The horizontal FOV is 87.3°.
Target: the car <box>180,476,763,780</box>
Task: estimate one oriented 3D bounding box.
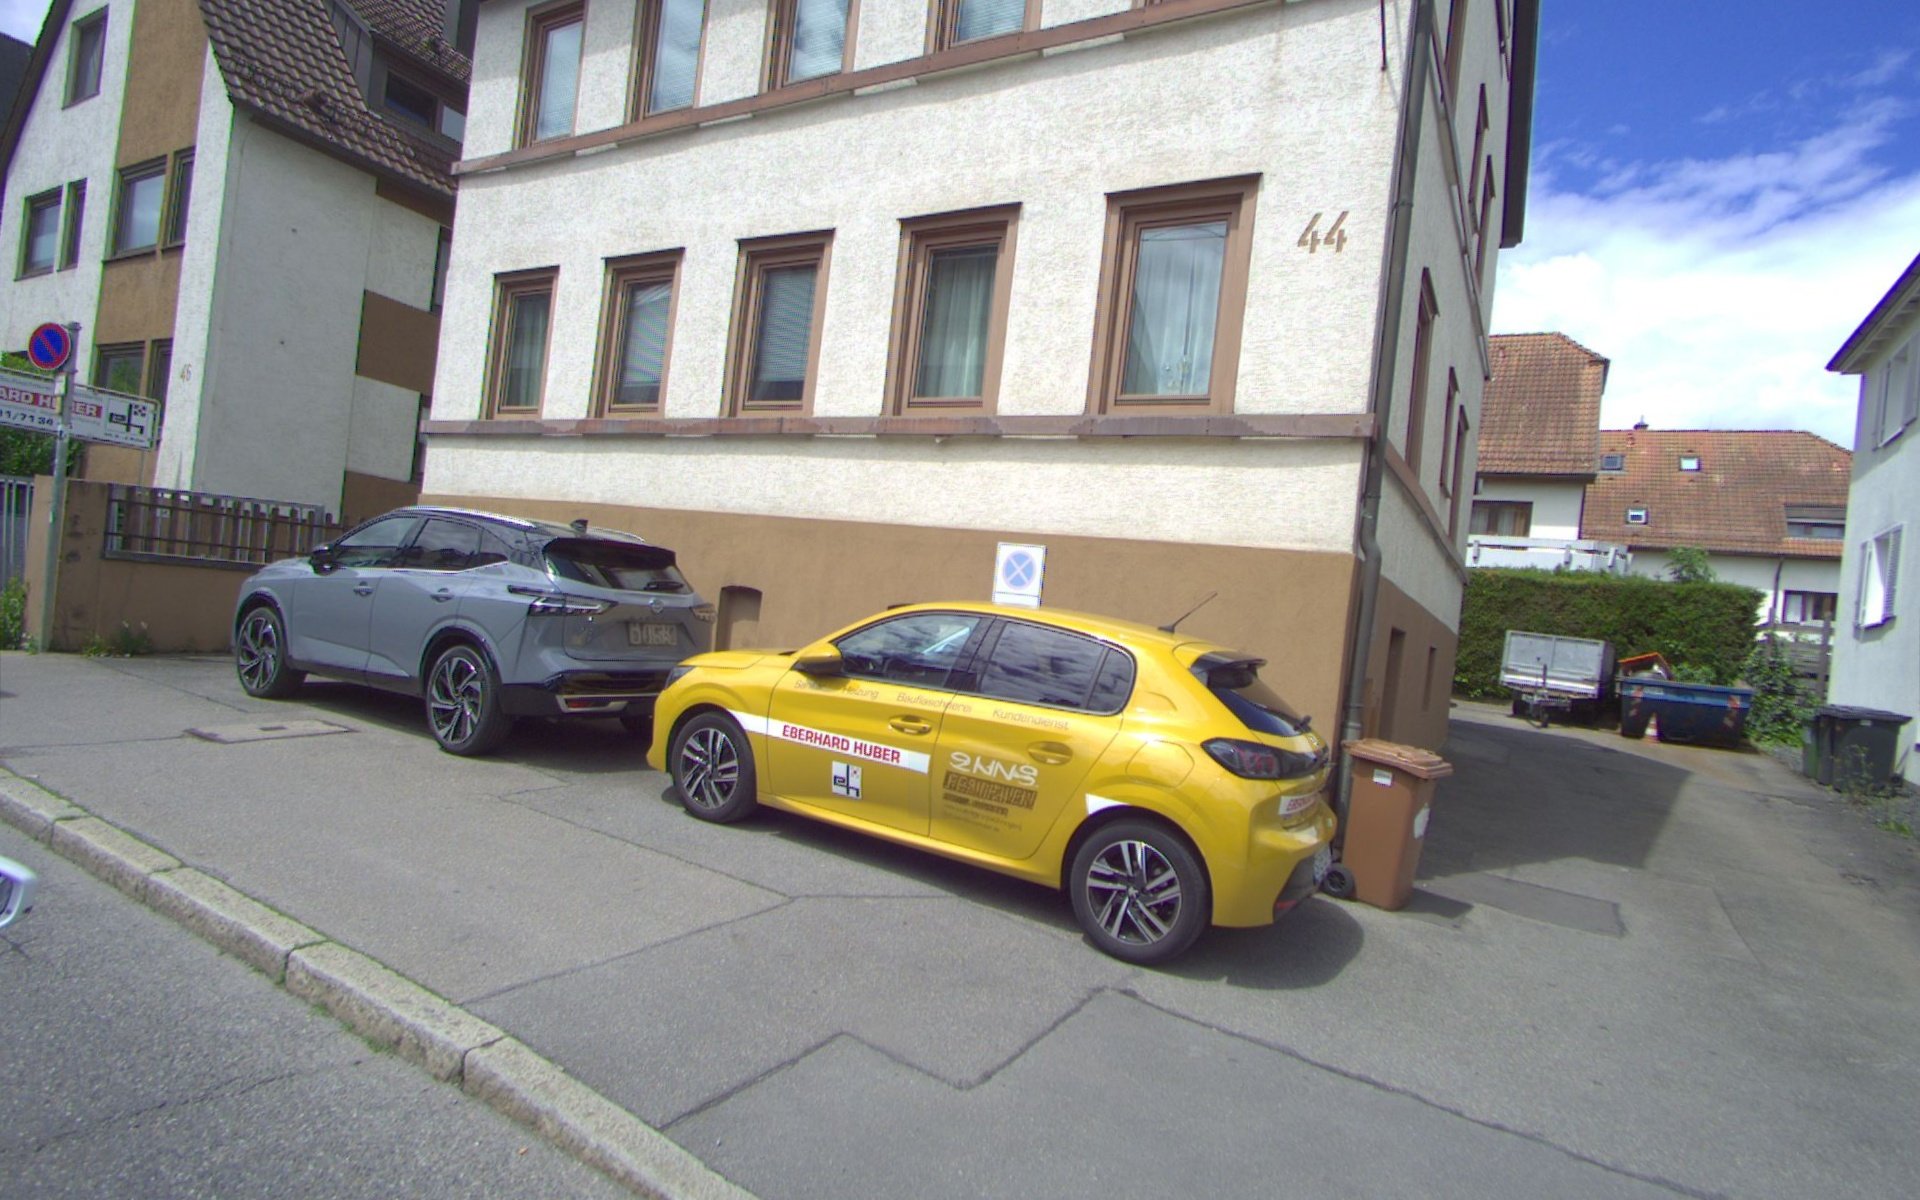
[{"bbox_3d":[-3.956,0.081,7.931,4.508,1.632,1.863,7,1,31],"label":"car"}]

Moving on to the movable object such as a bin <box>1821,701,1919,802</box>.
[{"bbox_3d":[11.470,1.881,12.664,0.751,1.097,0.608,6,2,30],"label":"movable object such as a bin"}]

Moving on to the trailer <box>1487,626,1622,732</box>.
[{"bbox_3d":[10.973,1.390,18.475,1.618,1.558,3.533,8,2,37],"label":"trailer"}]

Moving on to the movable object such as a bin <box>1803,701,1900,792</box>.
[{"bbox_3d":[11.712,1.910,13.238,0.751,1.032,0.608,6,2,30],"label":"movable object such as a bin"}]

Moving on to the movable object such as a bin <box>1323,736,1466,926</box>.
[{"bbox_3d":[2.546,1.315,5.883,0.589,0.936,0.501,7,0,35],"label":"movable object such as a bin"}]

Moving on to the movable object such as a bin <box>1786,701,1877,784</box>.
[{"bbox_3d":[11.948,1.941,13.817,0.751,0.983,0.608,6,2,30],"label":"movable object such as a bin"}]

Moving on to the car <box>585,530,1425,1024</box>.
[{"bbox_3d":[0.161,0.676,5.712,4.233,1.465,1.880,9,1,29],"label":"car"}]
